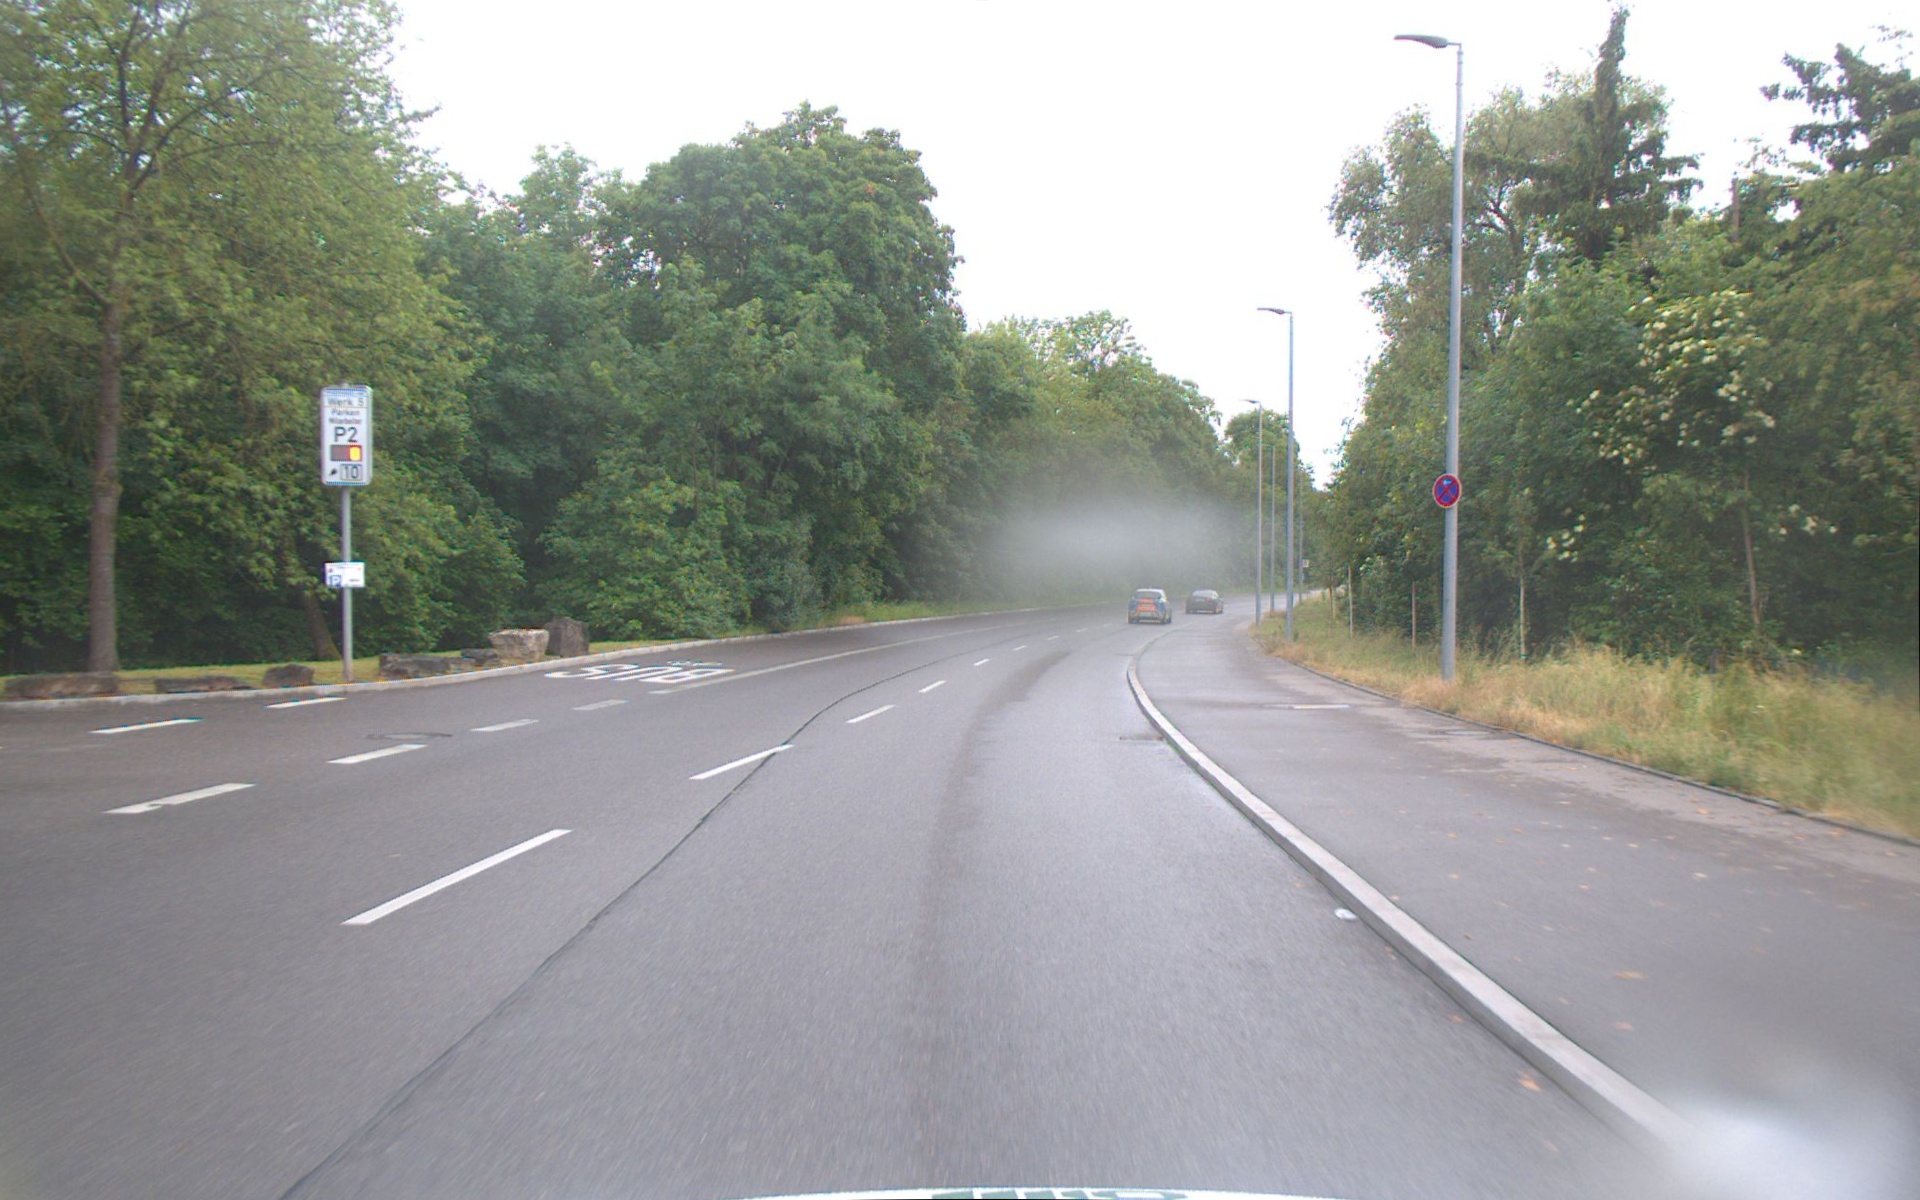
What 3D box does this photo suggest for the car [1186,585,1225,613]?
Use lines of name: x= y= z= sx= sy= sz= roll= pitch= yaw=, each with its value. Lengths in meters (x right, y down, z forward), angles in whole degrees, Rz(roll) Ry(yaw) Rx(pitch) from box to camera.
car: x=14.384 y=-0.077 z=96.771 sx=1.886 sy=1.512 sz=3.803 roll=0 pitch=2 yaw=15

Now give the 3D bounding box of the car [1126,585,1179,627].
car: x=8.826 y=0.255 z=75.654 sx=1.951 sy=1.718 sz=4.004 roll=-1 pitch=2 yaw=13
